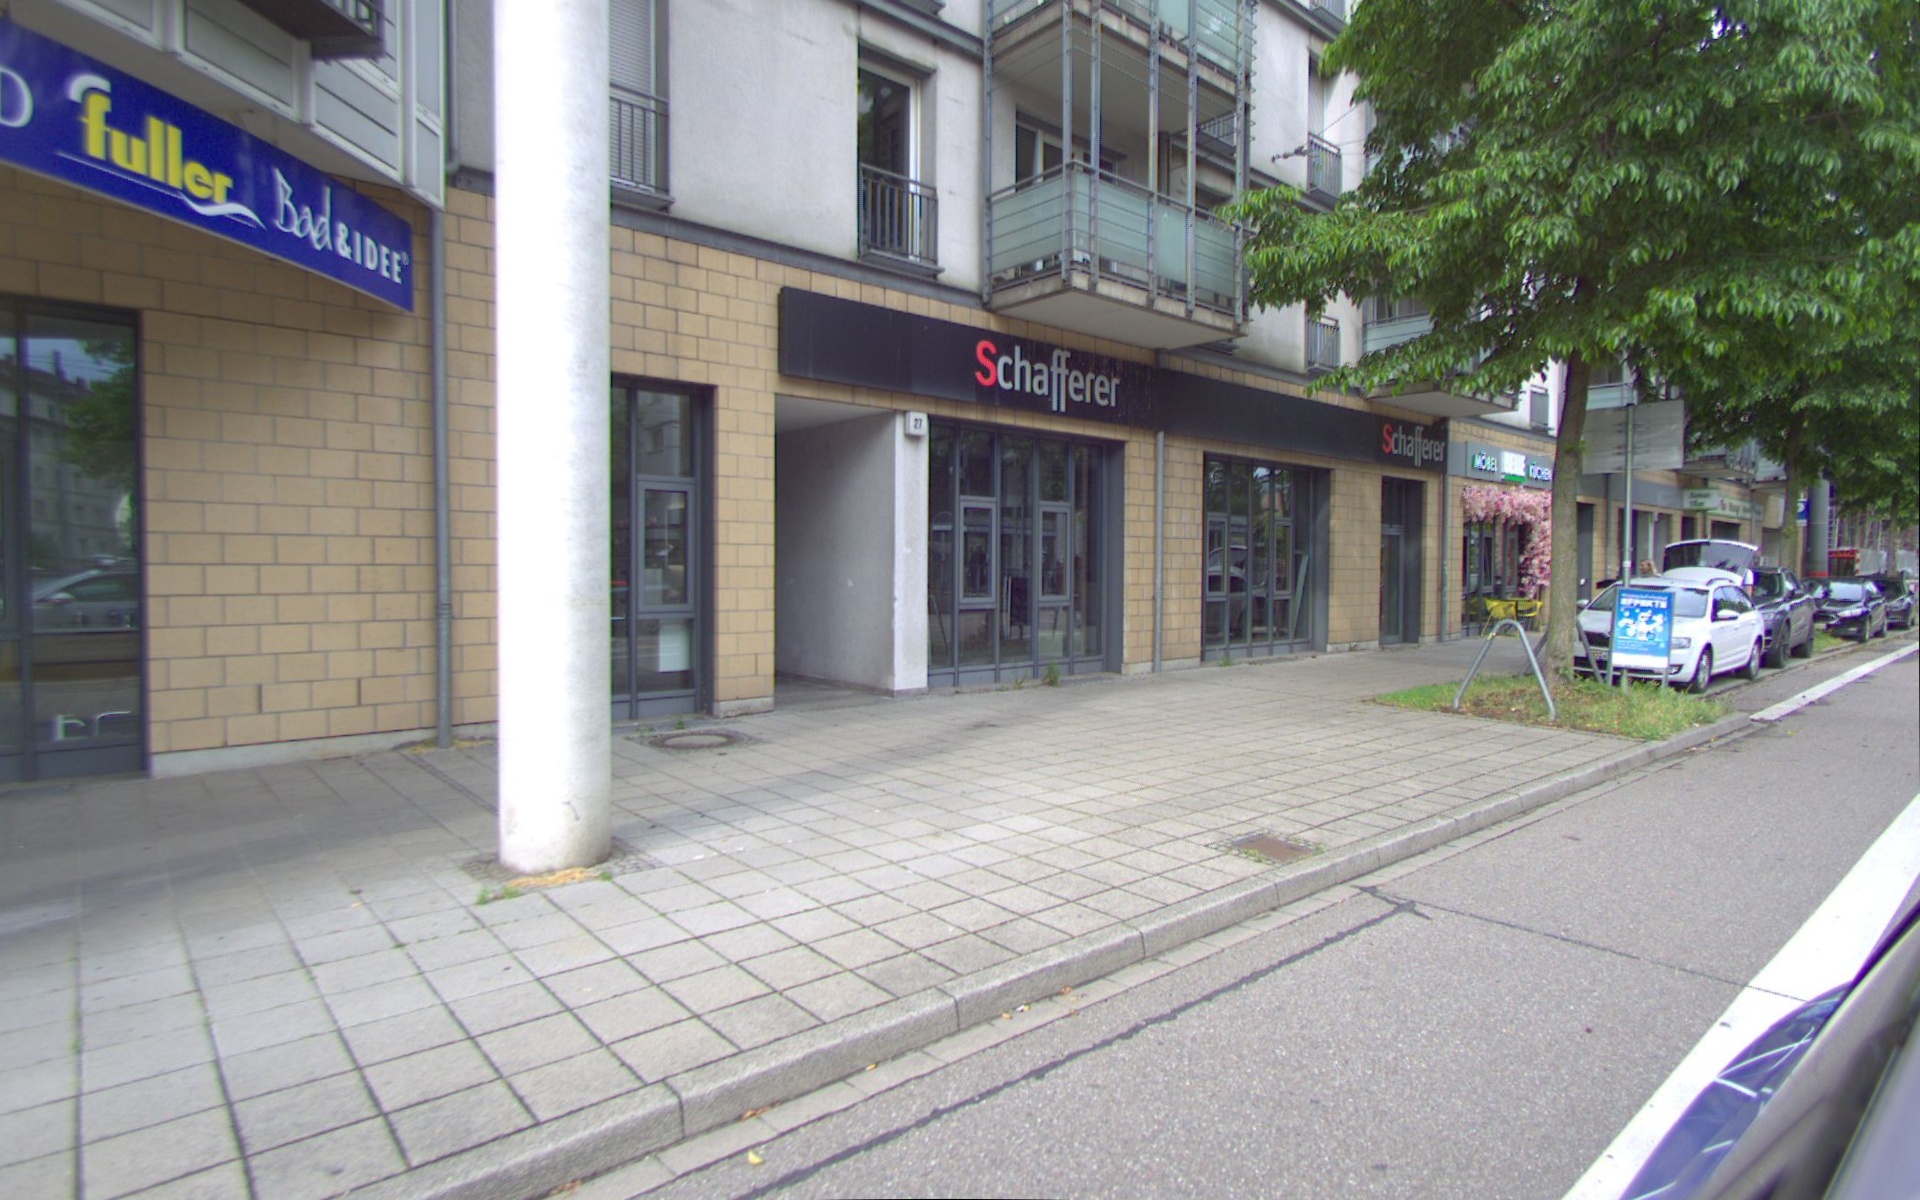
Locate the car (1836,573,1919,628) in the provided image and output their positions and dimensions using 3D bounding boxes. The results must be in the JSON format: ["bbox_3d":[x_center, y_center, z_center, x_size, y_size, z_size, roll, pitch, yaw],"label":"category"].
[{"bbox_3d":[26.373,-0.028,28.701,3.749,1.400,1.730,-1,4,-41],"label":"car"}]

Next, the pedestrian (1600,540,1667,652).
[{"bbox_3d":[11.422,-0.078,17.161,0.825,1.828,0.744,-1,0,-41],"label":"pedestrian"}]

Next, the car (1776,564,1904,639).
[{"bbox_3d":[20.727,-0.030,23.786,3.874,1.563,1.684,-1,4,-41],"label":"car"}]

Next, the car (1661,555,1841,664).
[{"bbox_3d":[14.021,0.078,17.870,3.874,1.682,1.730,-1,4,-41],"label":"car"}]

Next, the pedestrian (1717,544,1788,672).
[{"bbox_3d":[12.507,0.113,15.979,0.630,1.958,0.655,-1,0,-25],"label":"pedestrian"}]

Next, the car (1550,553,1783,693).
[{"bbox_3d":[10.217,0.219,14.540,4.032,1.681,1.730,-1,4,-41],"label":"car"}]
